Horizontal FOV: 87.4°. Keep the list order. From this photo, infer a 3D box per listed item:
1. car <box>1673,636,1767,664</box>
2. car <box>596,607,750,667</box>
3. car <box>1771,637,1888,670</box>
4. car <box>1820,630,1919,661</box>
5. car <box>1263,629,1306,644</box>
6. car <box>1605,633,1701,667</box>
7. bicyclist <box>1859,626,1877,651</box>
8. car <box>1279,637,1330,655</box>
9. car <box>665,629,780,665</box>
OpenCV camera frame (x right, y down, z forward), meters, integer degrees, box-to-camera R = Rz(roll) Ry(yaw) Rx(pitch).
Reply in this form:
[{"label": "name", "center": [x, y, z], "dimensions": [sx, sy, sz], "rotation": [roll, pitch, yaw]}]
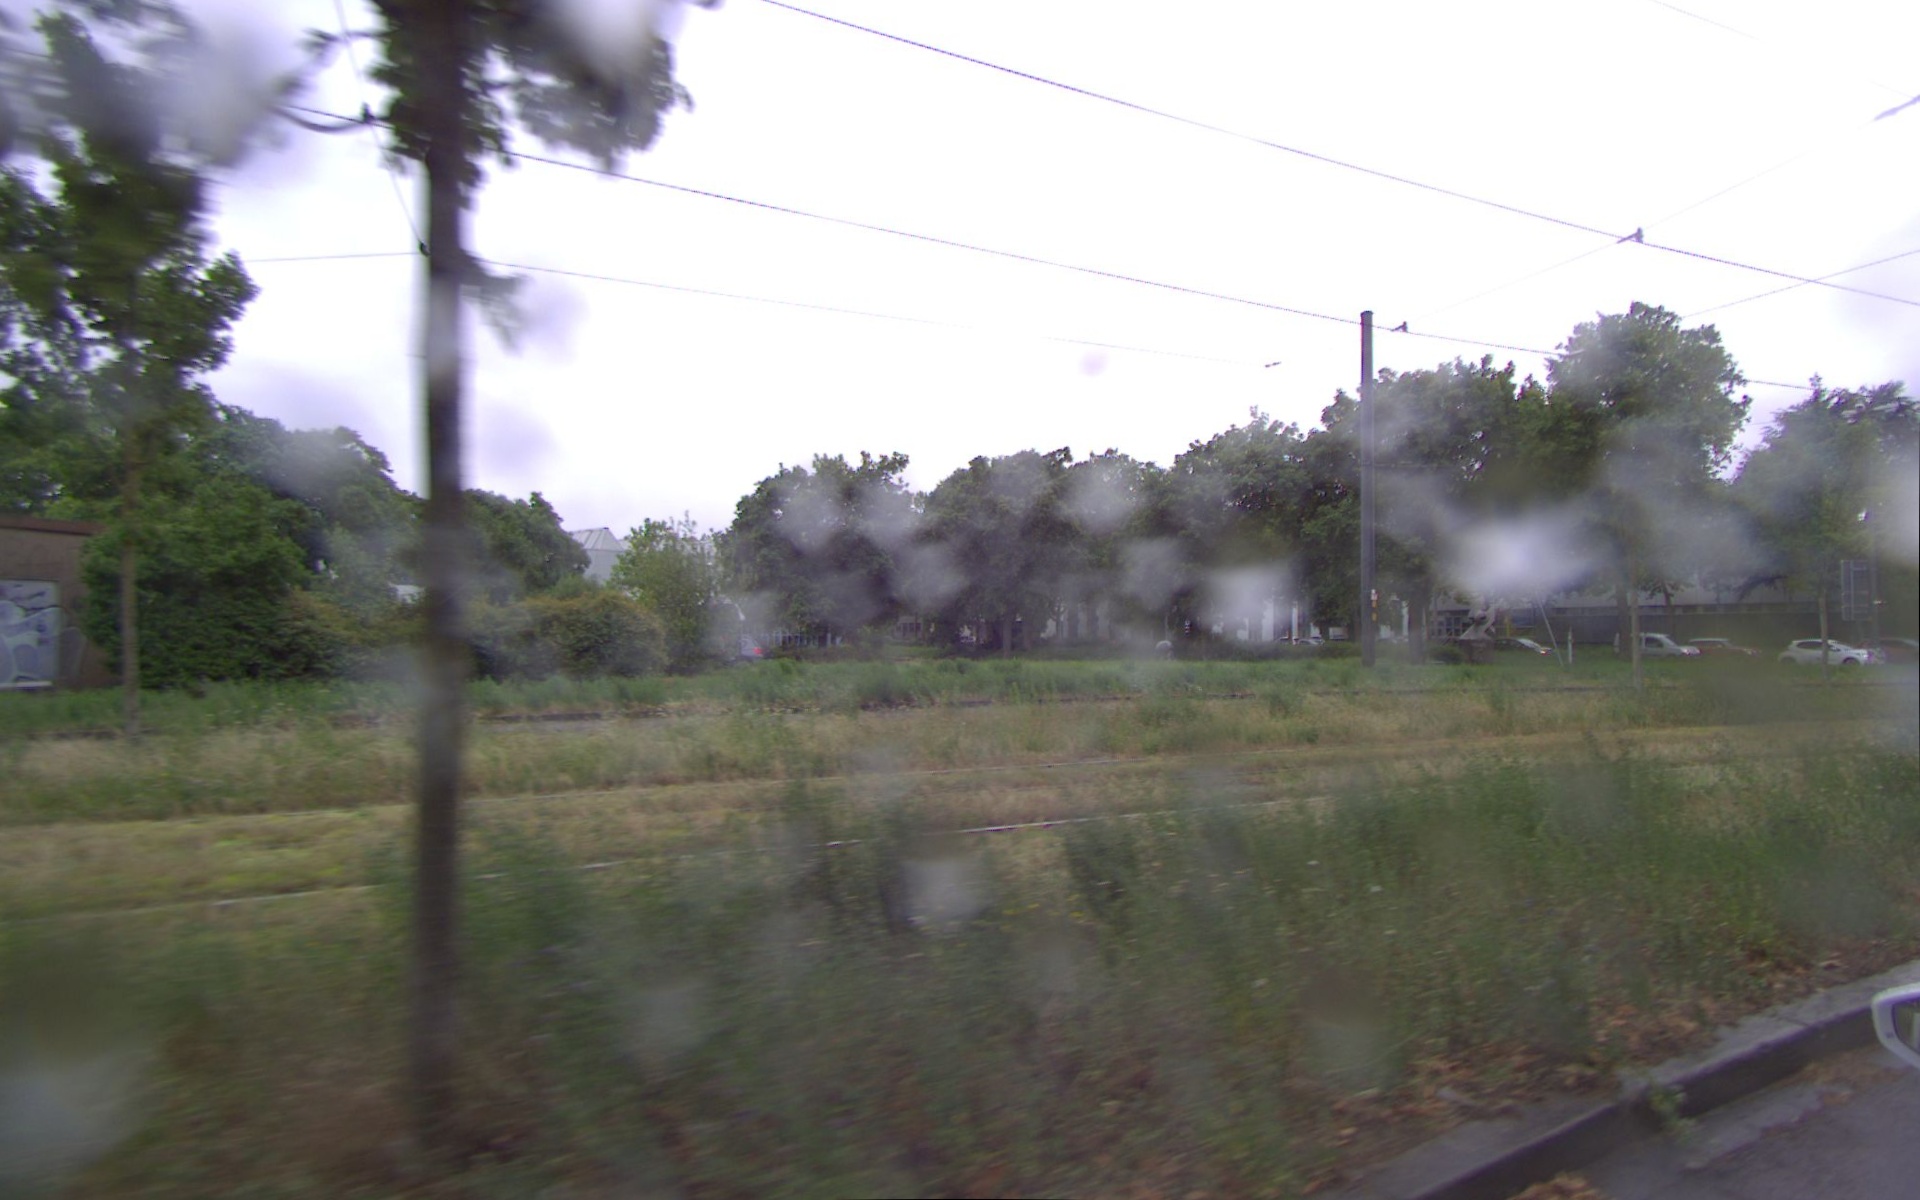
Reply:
[{"label": "car", "center": [43.157, 2.828, 57.108], "dimensions": [1.632, 1.518, 3.890], "rotation": [0, -2, -30]}, {"label": "car", "center": [-9.777, 1.286, 34.443], "dimensions": [4.619, 1.973, 2.038], "rotation": [-1, -2, 5]}, {"label": "car", "center": [42.768, 2.617, 49.489], "dimensions": [1.630, 1.518, 4.053], "rotation": [1, -3, -26]}, {"label": "car", "center": [46.321, 2.329, 50.935], "dimensions": [1.630, 1.518, 3.806], "rotation": [1, -3, -26]}, {"label": "car", "center": [31.329, 3.536, 97.102], "dimensions": [1.519, 1.438, 3.971], "rotation": [0, -2, -29]}, {"label": "car", "center": [39.361, 2.831, 57.186], "dimensions": [1.632, 1.820, 4.191], "rotation": [0, -2, -30]}, {"label": "bicyclist", "center": [60.747, 2.574, 67.200], "dimensions": [0.632, 1.705, 0.683], "rotation": [1, -3, -19]}, {"label": "car", "center": [27.305, 3.659, 79.632], "dimensions": [1.630, 1.413, 3.805], "rotation": [1, -3, -26]}, {"label": "car", "center": [-9.359, 1.865, 39.729], "dimensions": [4.014, 1.356, 1.839], "rotation": [-1, -2, 9]}]
